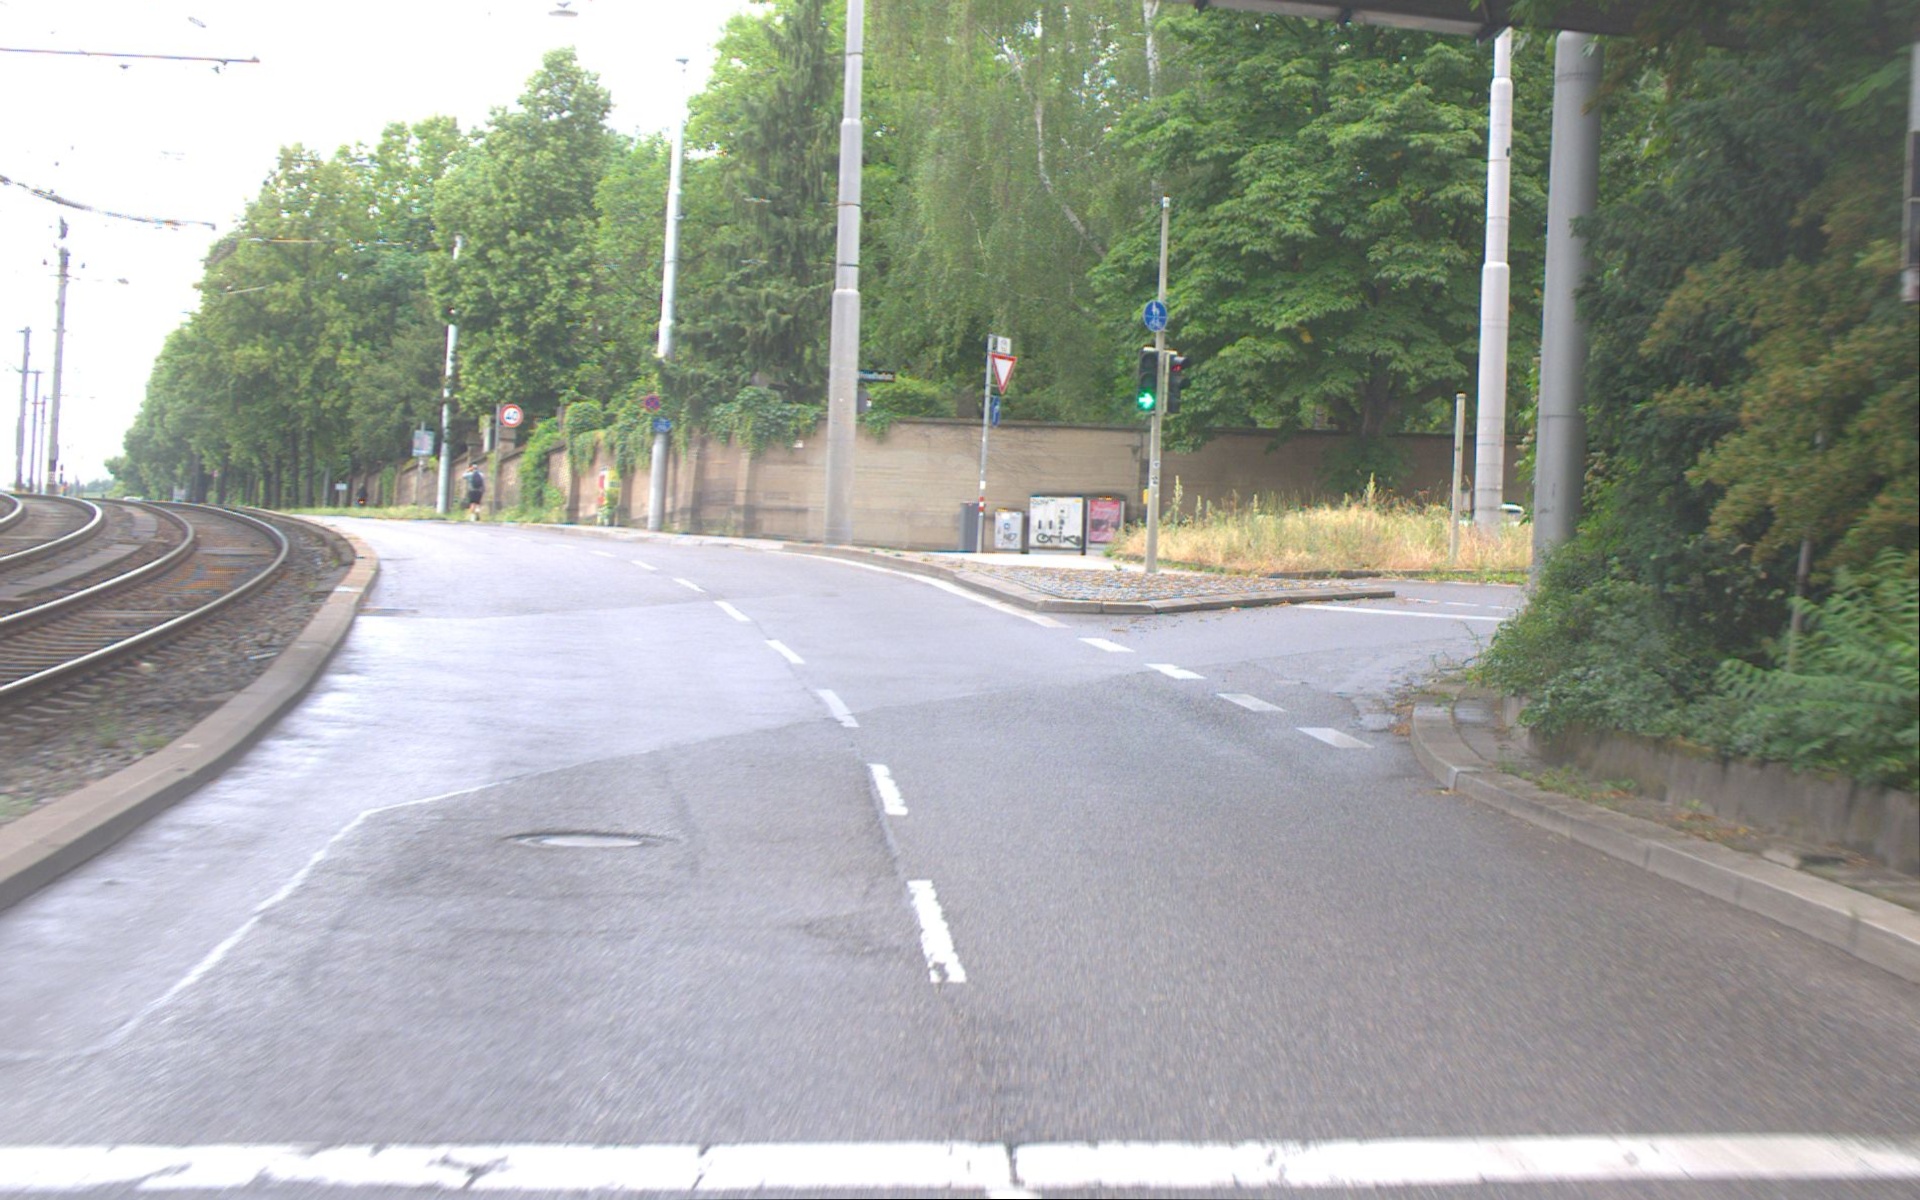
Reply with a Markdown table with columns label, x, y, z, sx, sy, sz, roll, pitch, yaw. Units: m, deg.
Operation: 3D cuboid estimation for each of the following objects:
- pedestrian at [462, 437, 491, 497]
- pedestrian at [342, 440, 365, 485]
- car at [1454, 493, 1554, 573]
| label | x | y | z | sx | sy | sz | roll | pitch | yaw |
| --- | --- | --- | --- | --- | --- | --- | --- | --- | --- |
| pedestrian | -15.250 | -4.180 | 108.420 | 0.719 | 1.843 | 0.783 | 4 | 0 | -15 |
| pedestrian | -23.670 | -5.359 | 134.158 | 0.719 | 1.681 | 0.729 | 4 | 0 | -15 |
| car | 10.222 | -1.259 | 64.606 | 1.754 | 1.401 | 3.999 | 2 | 1 | 9 |
